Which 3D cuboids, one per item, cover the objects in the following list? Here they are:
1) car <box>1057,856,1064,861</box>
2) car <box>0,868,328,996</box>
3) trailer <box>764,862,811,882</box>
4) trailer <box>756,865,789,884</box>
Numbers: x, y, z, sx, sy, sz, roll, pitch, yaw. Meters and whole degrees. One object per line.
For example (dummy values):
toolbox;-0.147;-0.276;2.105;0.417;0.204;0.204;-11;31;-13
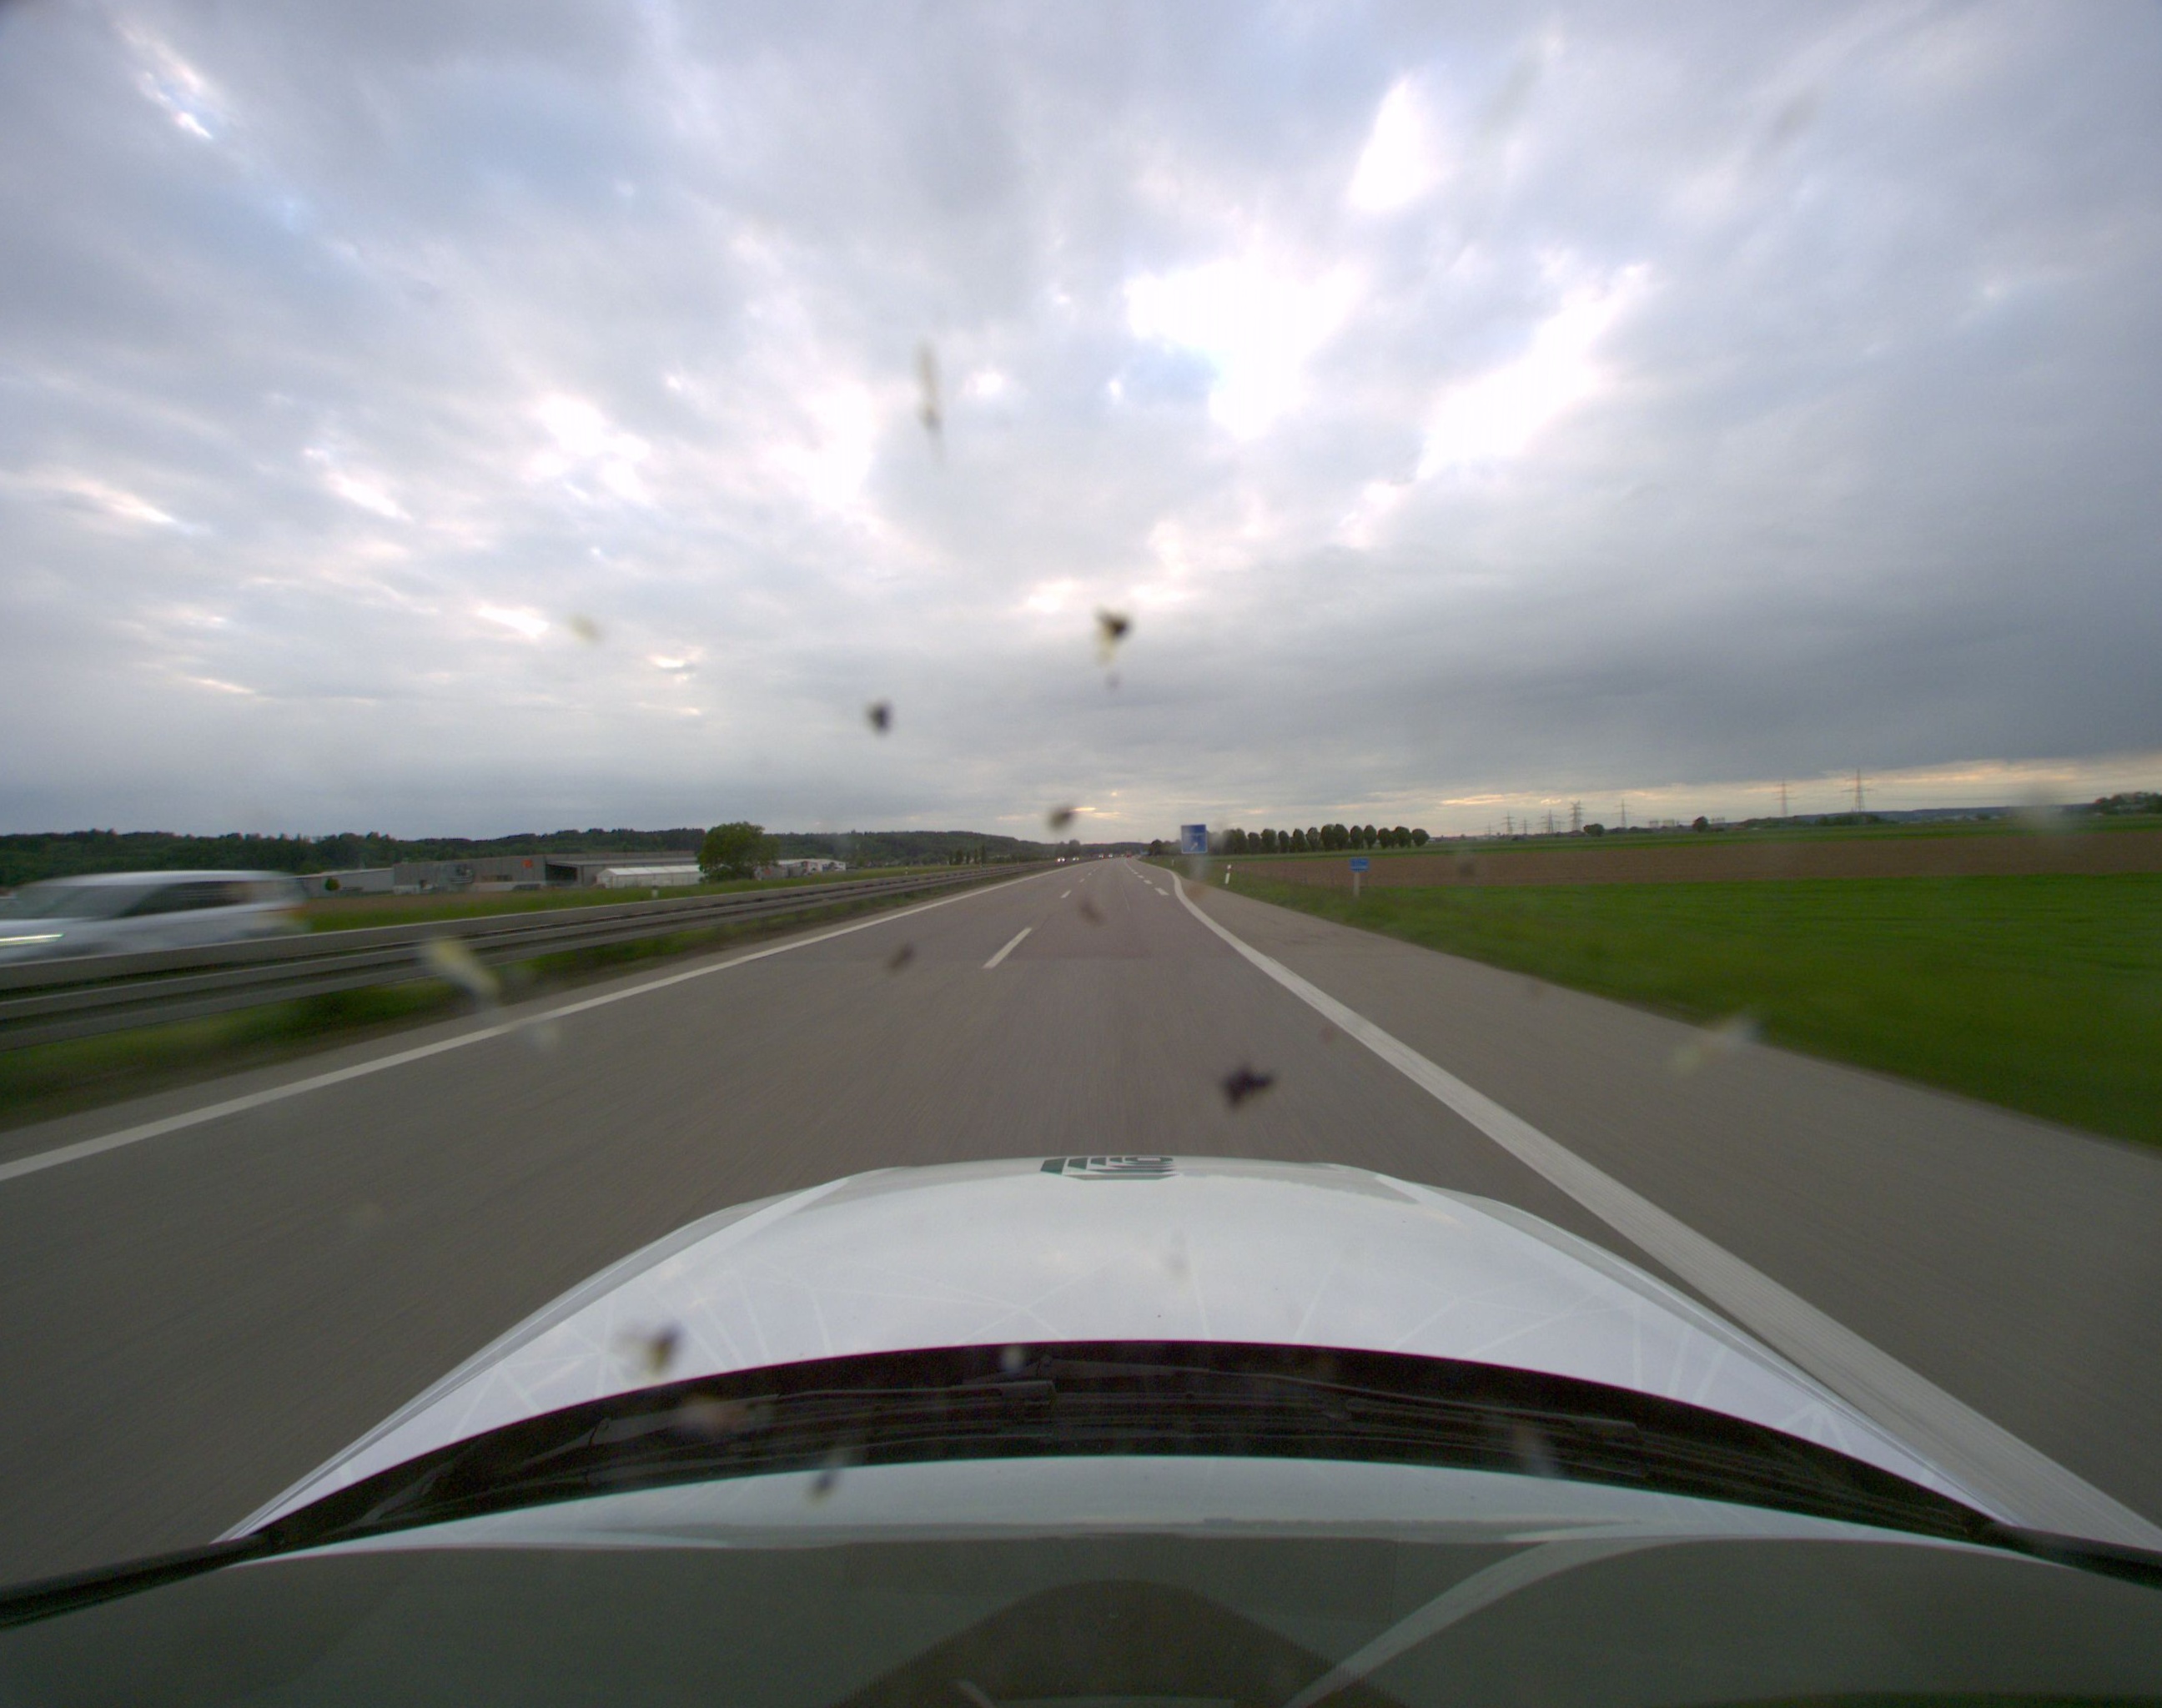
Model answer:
car;-6.205;1.234;248.731;1.986;1.480;4.454;-1;0;2
car;-16.395;1.166;14.129;1.986;1.765;4.953;-1;0;1
trailer;-89.003;5.508;246.683;16.813;5.135;3.592;-4;-2;31
trailer;-92.445;6.057;243.704;9.951;5.261;3.778;-4;-2;31
